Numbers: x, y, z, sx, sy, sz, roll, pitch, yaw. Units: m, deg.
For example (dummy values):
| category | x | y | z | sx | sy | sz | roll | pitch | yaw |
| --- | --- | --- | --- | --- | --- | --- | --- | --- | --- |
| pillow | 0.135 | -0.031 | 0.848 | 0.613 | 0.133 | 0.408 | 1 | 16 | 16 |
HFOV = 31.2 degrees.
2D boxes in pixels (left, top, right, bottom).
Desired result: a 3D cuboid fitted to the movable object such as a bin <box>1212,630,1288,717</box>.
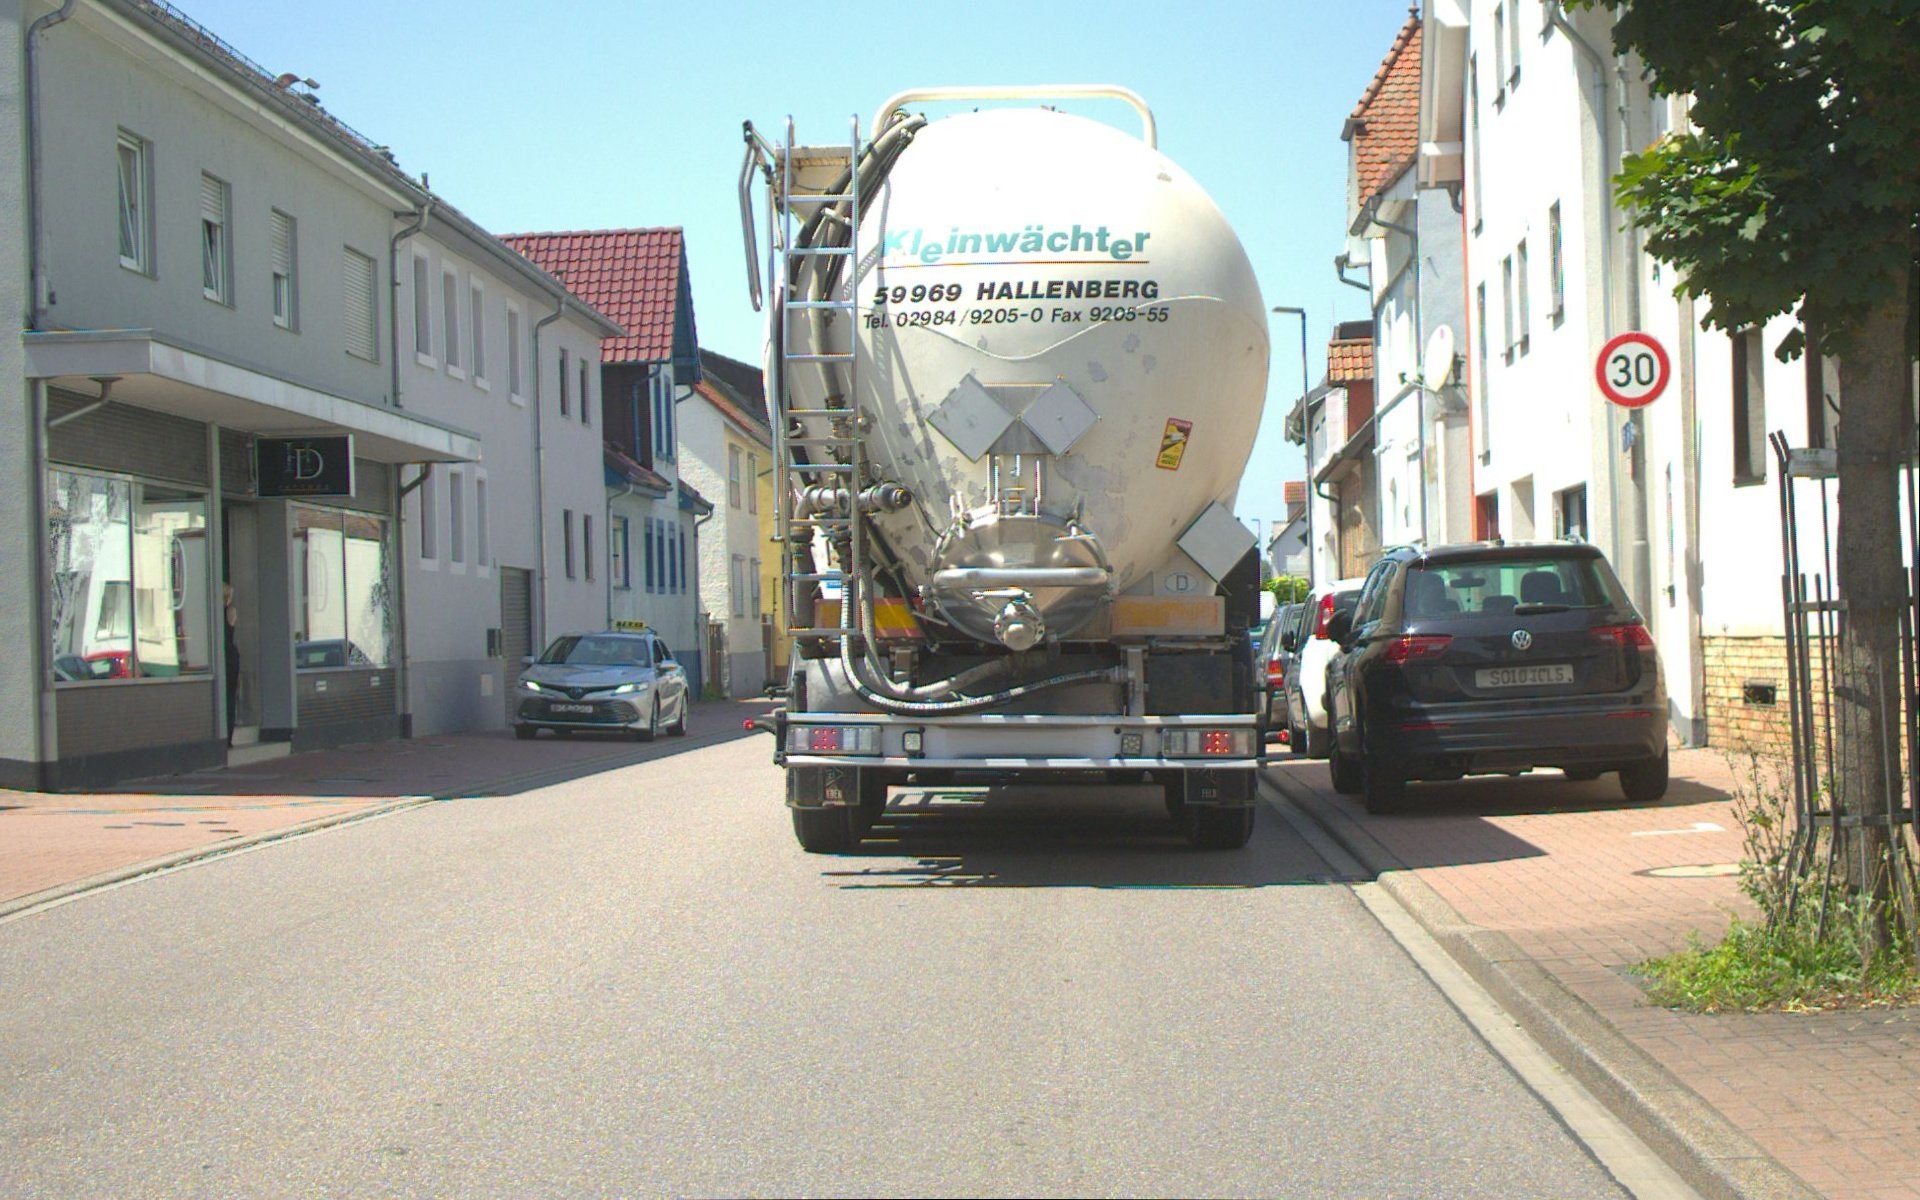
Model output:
| category | x | y | z | sx | sy | sz | roll | pitch | yaw |
| --- | --- | --- | --- | --- | --- | --- | --- | --- | --- |
| movable object such as a bin | 3.779 | 0.949 | 44.734 | 0.723 | 1.069 | 0.971 | -4 | -1 | 18 |

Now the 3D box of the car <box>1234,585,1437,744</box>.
| category | x | y | z | sx | sy | sz | roll | pitch | yaw |
| --- | --- | --- | --- | --- | --- | --- | --- | --- | --- |
| car | 3.879 | 0.658 | 36.187 | 1.700 | 1.442 | 4.836 | -4 | -1 | 2 |

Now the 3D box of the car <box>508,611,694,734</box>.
| category | x | y | z | sx | sy | sz | roll | pitch | yaw |
| --- | --- | --- | --- | --- | --- | --- | --- | --- | --- |
| car | -4.777 | 0.957 | 46.338 | 1.808 | 1.552 | 4.564 | 1 | -1 | 3 |

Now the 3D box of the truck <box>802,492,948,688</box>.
| category | x | y | z | sx | sy | sz | roll | pitch | yaw |
| --- | --- | --- | --- | --- | --- | --- | --- | --- | --- |
| truck | -1.787 | -0.169 | 75.319 | 2.618 | 3.972 | 6.851 | -3 | -1 | 2 |

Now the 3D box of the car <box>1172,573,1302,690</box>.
| category | x | y | z | sx | sy | sz | roll | pitch | yaw |
| --- | --- | --- | --- | --- | --- | --- | --- | --- | --- |
| car | 4.961 | 0.562 | 62.085 | 1.946 | 1.964 | 4.784 | -2 | -1 | 1 |

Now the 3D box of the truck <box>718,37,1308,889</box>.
| category | x | y | z | sx | sy | sz | roll | pitch | yaw |
| --- | --- | --- | --- | --- | --- | --- | --- | --- | --- |
| truck | 0.386 | -0.608 | 20.027 | 2.733 | 3.947 | 8.141 | 0 | 0 | 2 |

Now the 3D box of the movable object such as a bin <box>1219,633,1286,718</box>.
| category | x | y | z | sx | sy | sz | roll | pitch | yaw |
| --- | --- | --- | --- | --- | --- | --- | --- | --- | --- |
| movable object such as a bin | 3.729 | 0.964 | 43.838 | 0.656 | 1.031 | 0.683 | -4 | -1 | 18 |

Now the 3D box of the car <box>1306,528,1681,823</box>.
| category | x | y | z | sx | sy | sz | roll | pitch | yaw |
| --- | --- | --- | --- | --- | --- | --- | --- | --- | --- |
| car | 3.318 | 0.429 | 22.194 | 1.802 | 1.608 | 4.548 | -3 | 0 | 2 |

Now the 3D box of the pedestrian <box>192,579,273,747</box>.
| category | x | y | z | sx | sy | sz | roll | pitch | yaw |
| --- | --- | --- | --- | --- | --- | --- | --- | --- | --- |
| pedestrian | -7.372 | 0.633 | 34.866 | 0.624 | 1.679 | 0.771 | -1 | -1 | 2 |

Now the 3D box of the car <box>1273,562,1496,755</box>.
| category | x | y | z | sx | sy | sz | roll | pitch | yaw |
| --- | --- | --- | --- | --- | --- | --- | --- | --- | --- |
| car | 3.750 | 0.514 | 30.844 | 1.607 | 1.517 | 3.544 | -4 | -1 | 2 |

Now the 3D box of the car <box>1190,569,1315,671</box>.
| category | x | y | z | sx | sy | sz | roll | pitch | yaw |
| --- | --- | --- | --- | --- | --- | --- | --- | --- | --- |
| car | 4.549 | 0.318 | 54.010 | 1.770 | 1.461 | 4.577 | -2 | -1 | 3 |
